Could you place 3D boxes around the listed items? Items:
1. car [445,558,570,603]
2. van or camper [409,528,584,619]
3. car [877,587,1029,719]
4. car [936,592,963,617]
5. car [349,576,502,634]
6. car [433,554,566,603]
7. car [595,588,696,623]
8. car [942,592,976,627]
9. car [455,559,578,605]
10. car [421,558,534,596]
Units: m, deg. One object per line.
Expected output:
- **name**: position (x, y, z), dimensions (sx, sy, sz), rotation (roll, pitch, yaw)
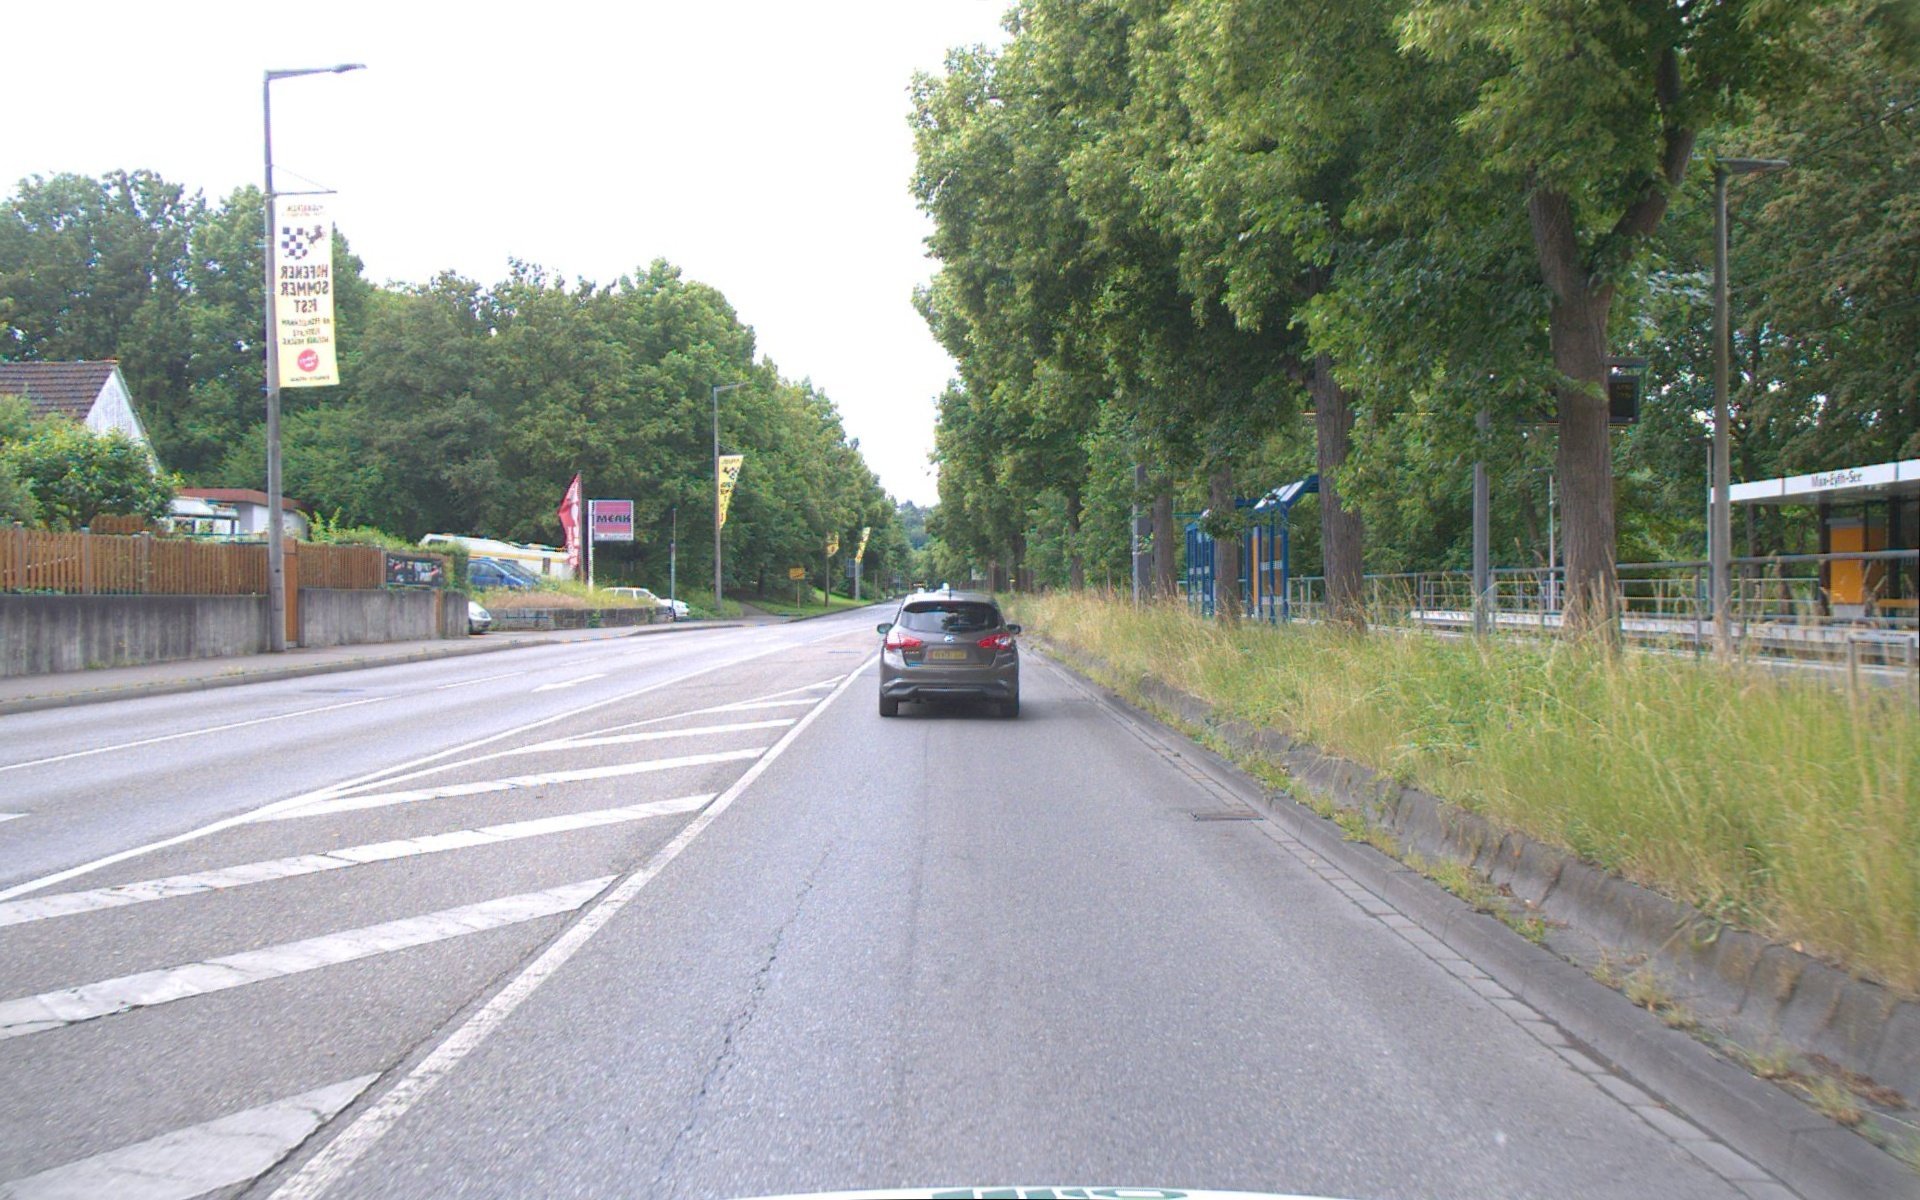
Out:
- **car**: position (-15.803, -0.658, 57.852), dimensions (3.903, 1.435, 1.534), rotation (2, -1, 4)
- **van or camper**: position (-21.187, -1.201, 75.901), dimensions (6.998, 3.429, 2.796), rotation (5, 0, -1)
- **car**: position (-0.039, 0.633, 21.711), dimensions (1.799, 1.555, 3.929), rotation (1, 0, 1)
- **car**: position (-0.611, 0.278, 100.221), dimensions (1.472, 1.507, 3.672), rotation (1, 0, 1)
- **car**: position (-16.186, 0.159, 50.225), dimensions (3.905, 1.645, 2.000), rotation (2, -1, 0)
- **car**: position (-15.563, -0.720, 55.985), dimensions (3.903, 1.523, 1.860), rotation (2, -1, 4)
- **car**: position (-14.445, 0.239, 76.194), dimensions (4.287, 1.466, 1.960), rotation (2, 0, -3)
- **car**: position (-0.027, 0.437, 76.133), dimensions (1.472, 1.555, 3.672), rotation (1, 0, 1)
- **car**: position (-16.010, -0.634, 59.807), dimensions (3.903, 1.518, 1.648), rotation (2, -1, 4)
- **car**: position (-19.549, -0.913, 67.108), dimensions (3.903, 1.394, 2.001), rotation (2, -1, 4)
